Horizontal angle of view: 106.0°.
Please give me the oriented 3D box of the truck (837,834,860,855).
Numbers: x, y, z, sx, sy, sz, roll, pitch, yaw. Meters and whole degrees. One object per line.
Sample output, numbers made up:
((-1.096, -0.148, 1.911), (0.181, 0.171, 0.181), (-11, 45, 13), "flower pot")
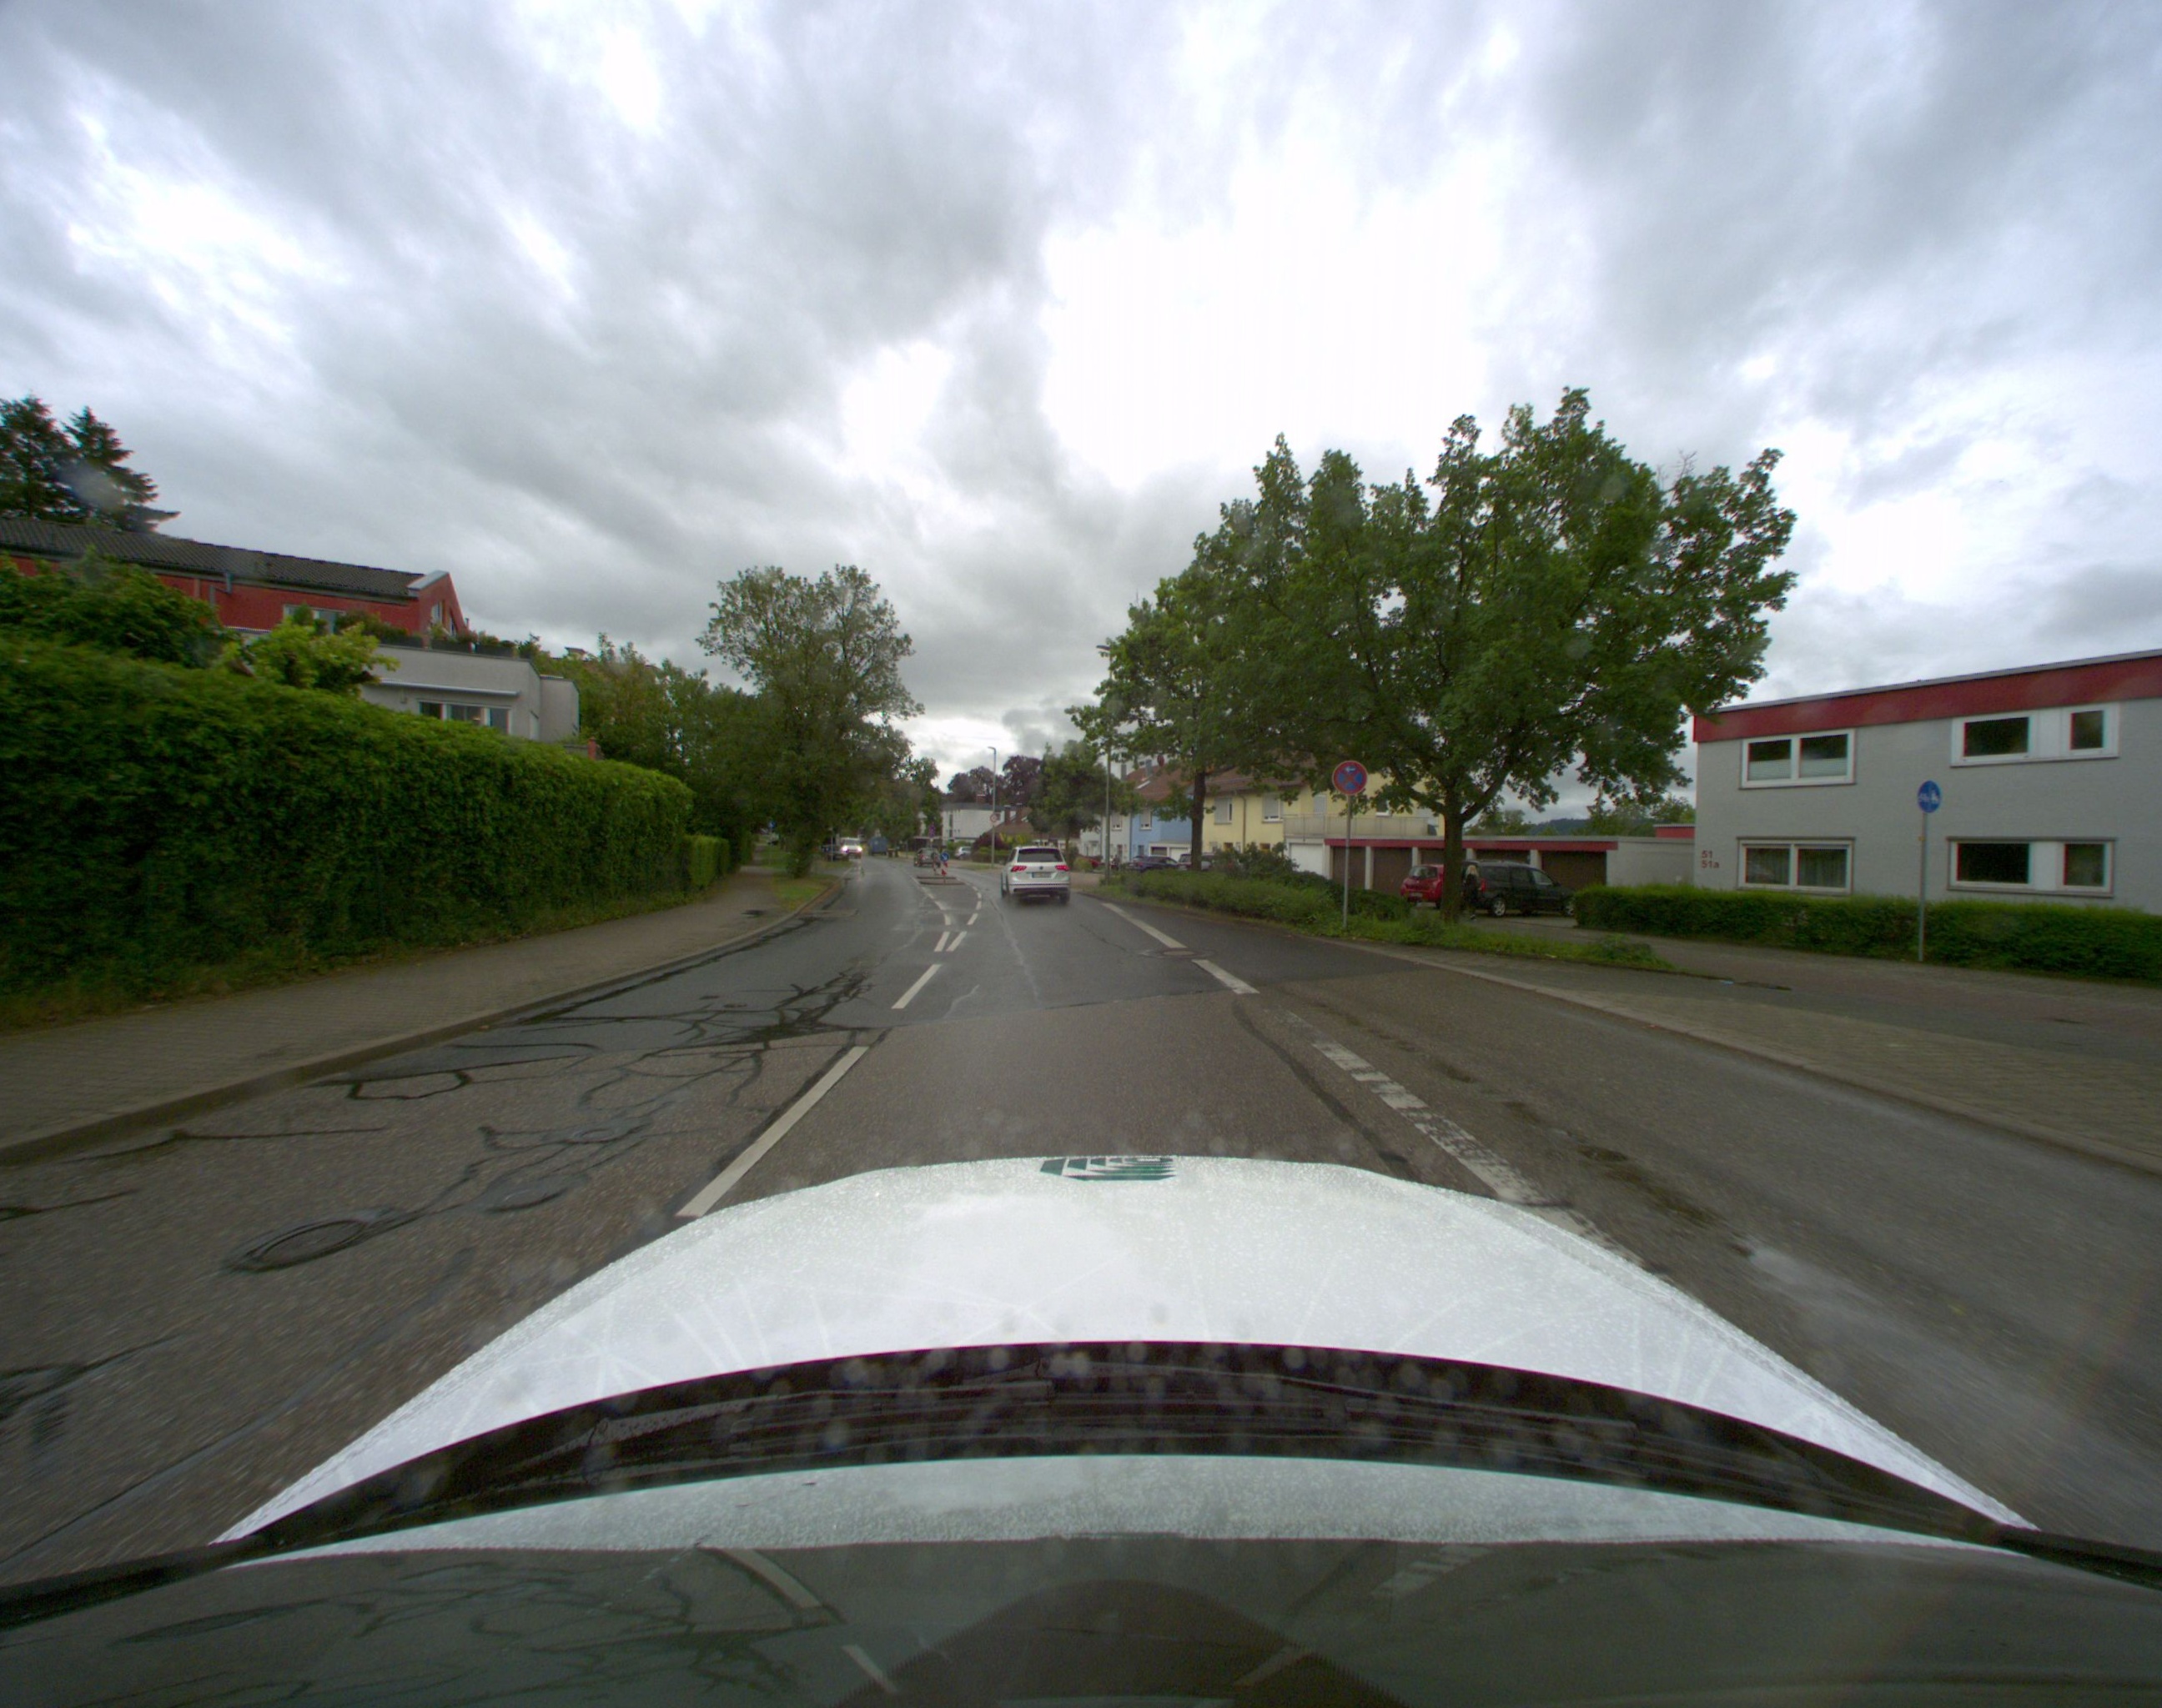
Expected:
((-26.040, -1.079, 91.098), (2.222, 2.203, 6.426), (2, 0, -17), "truck")

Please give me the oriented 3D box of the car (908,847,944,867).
((-12.179, 0.219, 63.834), (1.779, 1.551, 3.965), (1, 0, -27), "car")

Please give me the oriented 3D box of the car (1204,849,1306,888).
((7.982, 0.658, 37.467), (4.195, 1.671, 1.978), (1, 0, -21), "car")

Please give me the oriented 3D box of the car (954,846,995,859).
((-11.591, -0.151, 88.583), (4.005, 1.442, 1.833), (0, 0, -24), "car")

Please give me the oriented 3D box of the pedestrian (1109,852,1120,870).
((2.514, 0.512, 60.968), (0.539, 1.351, 0.524), (1, 0, -35), "pedestrian")

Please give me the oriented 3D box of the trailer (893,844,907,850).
((-30.320, -1.143, 136.290), (2.048, 0.883, 1.356), (2, 0, -19), "trailer")

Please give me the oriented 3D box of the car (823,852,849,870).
((-20.819, 0.598, 69.219), (1.730, 1.408, 3.797), (1, 0, -22), "car")

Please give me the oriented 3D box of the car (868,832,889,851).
((-28.091, -1.759, 112.673), (2.002, 2.586, 5.592), (-1, 2, -22), "car")

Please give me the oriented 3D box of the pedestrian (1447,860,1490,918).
((10.856, 0.966, 22.819), (0.668, 1.558, 0.835), (-1, 1, -27), "pedestrian")

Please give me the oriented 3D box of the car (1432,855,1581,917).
((12.864, 0.914, 24.628), (4.004, 1.721, 1.909), (1, 0, -24), "car")

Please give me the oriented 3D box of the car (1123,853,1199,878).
((4.579, 0.669, 46.545), (4.006, 1.387, 1.661), (1, 0, -25), "car")

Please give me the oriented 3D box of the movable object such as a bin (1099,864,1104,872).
((1.488, 1.023, 60.121), (0.256, 0.626, 0.323), (1, 0, -21), "movable object such as a bin")

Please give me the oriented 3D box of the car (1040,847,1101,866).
((-0.789, 0.181, 61.667), (4.332, 1.260, 1.663), (2, 0, -32), "car")

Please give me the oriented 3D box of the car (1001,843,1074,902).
((-1.392, 0.501, 24.578), (1.864, 1.650, 3.989), (0, 0, -8), "car")

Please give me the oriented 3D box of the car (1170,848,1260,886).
((6.650, 0.636, 40.375), (4.204, 1.671, 1.706), (3, -1, -29), "car")

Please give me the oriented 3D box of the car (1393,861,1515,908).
((12.464, 0.987, 27.209), (3.708, 1.442, 1.694), (1, 0, -24), "car")
